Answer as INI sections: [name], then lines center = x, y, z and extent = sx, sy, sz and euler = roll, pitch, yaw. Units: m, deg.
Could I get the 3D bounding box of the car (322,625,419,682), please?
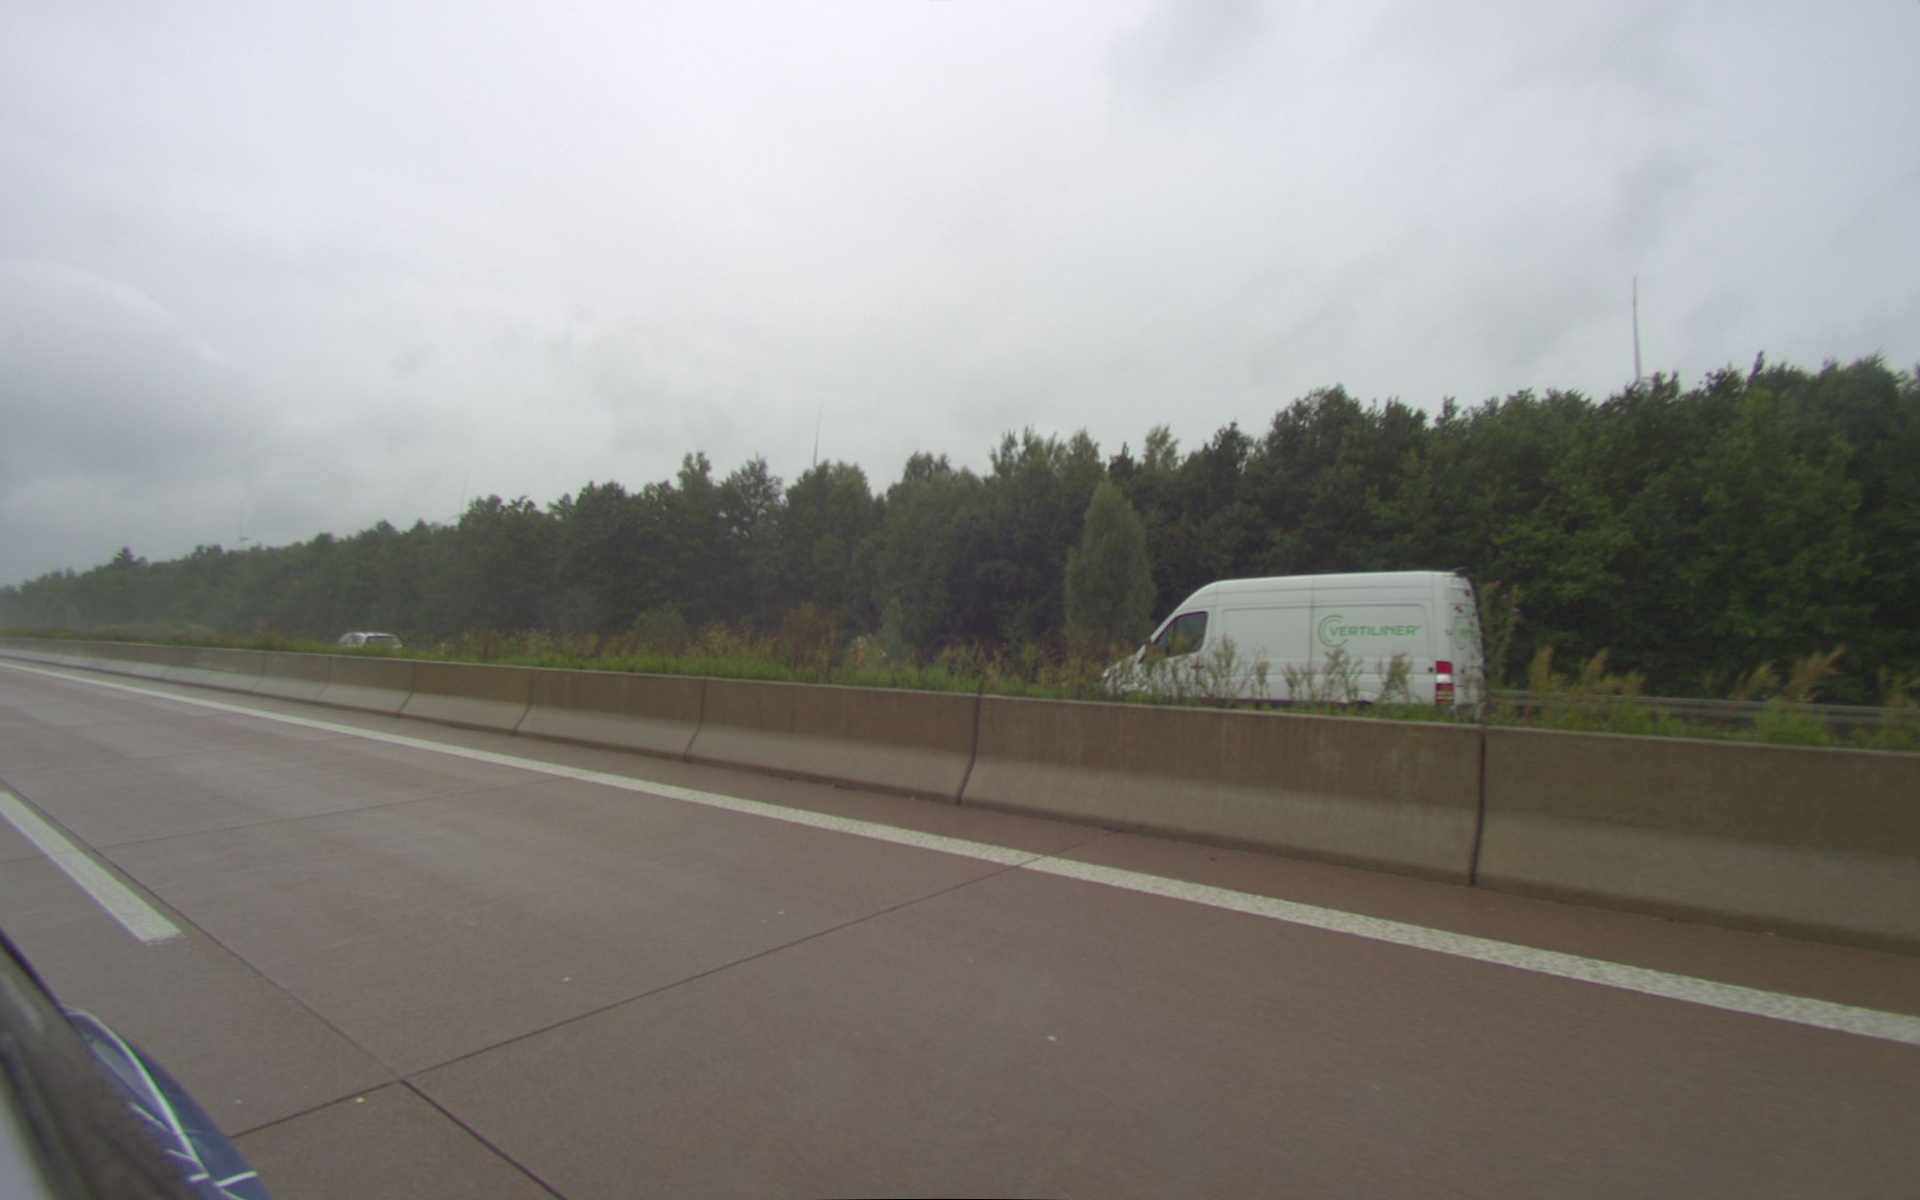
[car]
center = -22.865, 2.014, 39.207
extent = 3.996, 2.029, 1.974
euler = -1, -1, 39

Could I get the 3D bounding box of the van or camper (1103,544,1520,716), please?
[van or camper]
center = 5.238, 0.443, 15.652
extent = 5.715, 2.222, 2.108
euler = -1, -1, 39
